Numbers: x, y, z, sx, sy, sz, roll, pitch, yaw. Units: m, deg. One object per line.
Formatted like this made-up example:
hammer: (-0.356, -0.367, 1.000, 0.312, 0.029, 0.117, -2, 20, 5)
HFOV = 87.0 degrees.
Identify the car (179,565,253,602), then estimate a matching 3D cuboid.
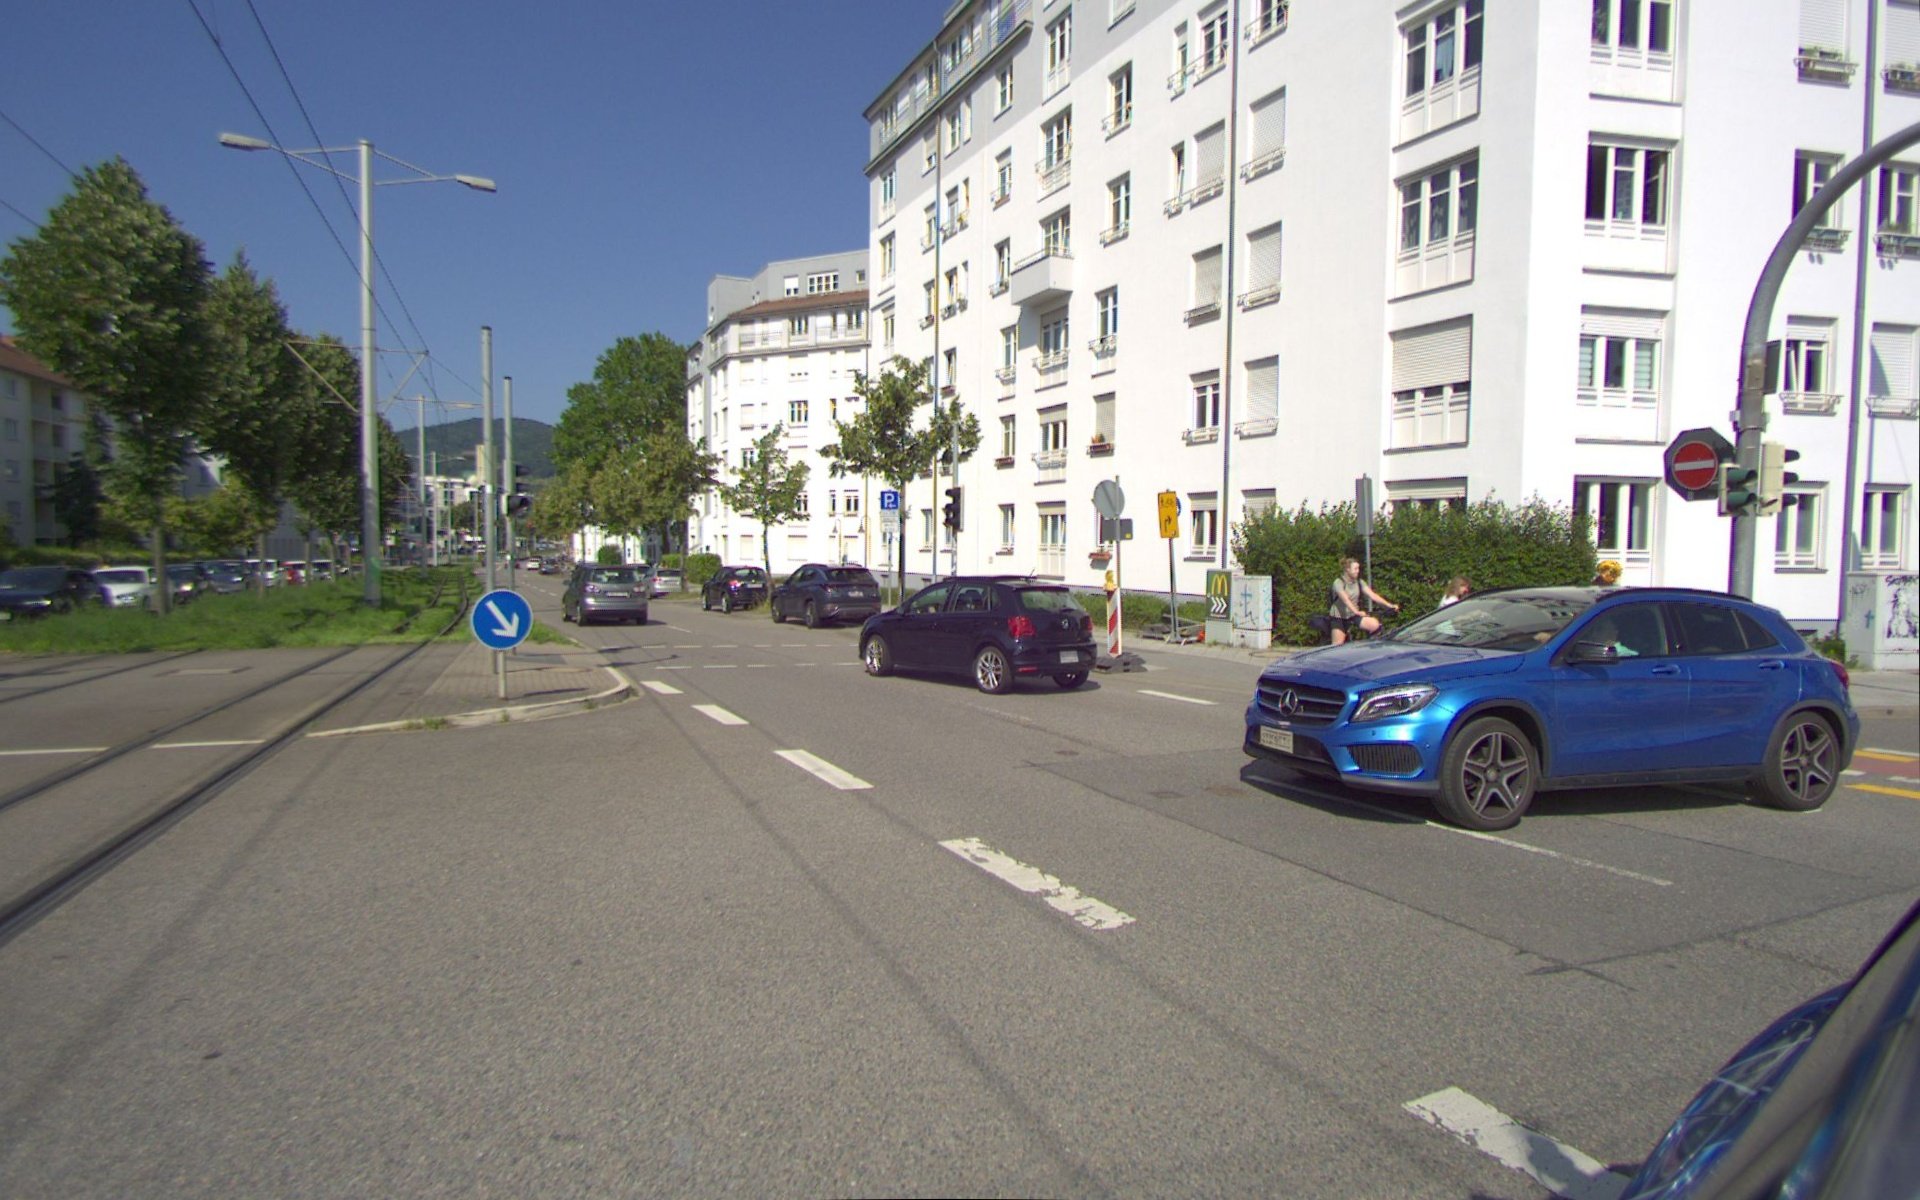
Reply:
car: (-29.377, -0.692, 40.074, 1.732, 1.371, 4.006, -2, 3, -28)

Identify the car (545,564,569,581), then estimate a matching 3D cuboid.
car: (-36.748, -2.521, 92.265, 1.705, 1.502, 3.747, -2, 3, -26)

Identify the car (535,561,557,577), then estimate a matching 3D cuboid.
car: (-40.693, -3.052, 99.346, 1.705, 1.502, 3.747, -2, 3, -26)

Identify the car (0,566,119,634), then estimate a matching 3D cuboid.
car: (-20.457, -0.051, 22.356, 1.731, 1.371, 4.009, -2, 2, -23)

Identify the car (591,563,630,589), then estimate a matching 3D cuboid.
car: (-20.774, -1.444, 60.077, 1.705, 1.502, 3.747, -2, 3, -26)

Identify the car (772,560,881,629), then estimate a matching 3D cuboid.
car: (-3.599, -0.214, 26.767, 1.705, 1.657, 3.747, -2, 3, -26)

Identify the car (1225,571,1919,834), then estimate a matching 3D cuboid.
car: (4.317, 0.577, 7.186, 4.454, 1.499, 1.680, 0, 1, -16)

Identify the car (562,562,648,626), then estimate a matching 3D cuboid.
car: (-9.491, -0.217, 26.902, 1.662, 1.575, 3.662, 0, 2, -27)

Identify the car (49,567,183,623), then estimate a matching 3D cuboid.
car: (-23.020, -0.190, 27.788, 1.731, 1.371, 4.008, -2, 3, -24)

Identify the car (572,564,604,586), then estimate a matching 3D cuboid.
car: (-26.264, -1.785, 71.426, 1.705, 1.502, 3.747, -2, 3, -26)

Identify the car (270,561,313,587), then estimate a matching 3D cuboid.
car: (-38.243, -1.512, 57.987, 1.733, 1.371, 4.005, -2, 3, -30)

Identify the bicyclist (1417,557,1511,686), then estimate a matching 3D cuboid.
bicyclist: (6.548, 0.248, 13.165, 0.612, 1.598, 0.918, -2, 3, -35)

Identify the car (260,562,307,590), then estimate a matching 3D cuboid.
car: (-35.647, -1.295, 53.396, 1.733, 1.371, 4.005, -2, 3, -30)

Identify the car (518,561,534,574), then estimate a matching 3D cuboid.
car: (-53.126, -4.006, 123.983, 1.704, 1.502, 3.748, -1, 3, -24)

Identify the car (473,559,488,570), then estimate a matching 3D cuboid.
car: (-66.796, -4.902, 141.093, 1.762, 1.502, 3.748, -1, 3, -24)

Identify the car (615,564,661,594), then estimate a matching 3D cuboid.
car: (-16.852, -1.134, 52.926, 1.705, 1.502, 3.747, -2, 3, -26)

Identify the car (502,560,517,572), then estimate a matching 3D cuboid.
car: (-58.850, -4.452, 132.176, 1.762, 1.502, 3.748, -1, 3, -24)

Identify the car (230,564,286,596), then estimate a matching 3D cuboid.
car: (-32.271, -0.959, 46.597, 1.733, 1.371, 4.005, -2, 3, -30)

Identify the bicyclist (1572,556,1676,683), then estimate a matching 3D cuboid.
bicyclist: (8.166, 0.210, 12.455, 0.587, 1.496, 0.917, -1, 2, -37)

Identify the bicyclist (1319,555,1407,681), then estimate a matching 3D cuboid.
bicyclist: (5.341, 0.208, 13.436, 0.611, 1.609, 0.920, -1, 2, -22)

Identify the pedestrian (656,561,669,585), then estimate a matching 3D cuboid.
pedestrian: (-20.557, -1.863, 69.932, 0.841, 1.686, 0.912, 0, 1, -21)

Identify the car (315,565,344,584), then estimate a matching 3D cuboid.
car: (-49.737, -2.032, 79.921, 1.733, 1.371, 4.005, -2, 3, -30)

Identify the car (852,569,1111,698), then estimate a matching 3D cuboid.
car: (0.181, 0.346, 14.022, 1.566, 1.511, 3.658, 0, 2, -40)

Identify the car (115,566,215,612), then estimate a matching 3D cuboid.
car: (-26.199, -0.417, 33.485, 1.732, 1.371, 4.007, -2, 3, -26)

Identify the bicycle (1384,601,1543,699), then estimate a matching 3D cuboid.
bicycle: (6.532, 0.605, 13.213, 0.616, 1.112, 1.787, -2, 3, -35)

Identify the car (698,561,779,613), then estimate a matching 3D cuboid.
car: (-7.563, -0.487, 34.341, 1.705, 1.657, 3.746, -2, 3, -28)

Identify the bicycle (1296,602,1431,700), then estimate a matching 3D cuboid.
bicycle: (5.327, 0.630, 13.483, 0.605, 1.112, 1.791, -1, 3, -21)

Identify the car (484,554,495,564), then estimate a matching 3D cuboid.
car: (-82.595, -7.182, 177.692, 1.762, 1.703, 3.748, -1, 2, -24)

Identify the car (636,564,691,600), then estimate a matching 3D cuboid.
car: (-13.388, -0.858, 45.593, 1.705, 1.502, 3.747, -2, 3, -26)
